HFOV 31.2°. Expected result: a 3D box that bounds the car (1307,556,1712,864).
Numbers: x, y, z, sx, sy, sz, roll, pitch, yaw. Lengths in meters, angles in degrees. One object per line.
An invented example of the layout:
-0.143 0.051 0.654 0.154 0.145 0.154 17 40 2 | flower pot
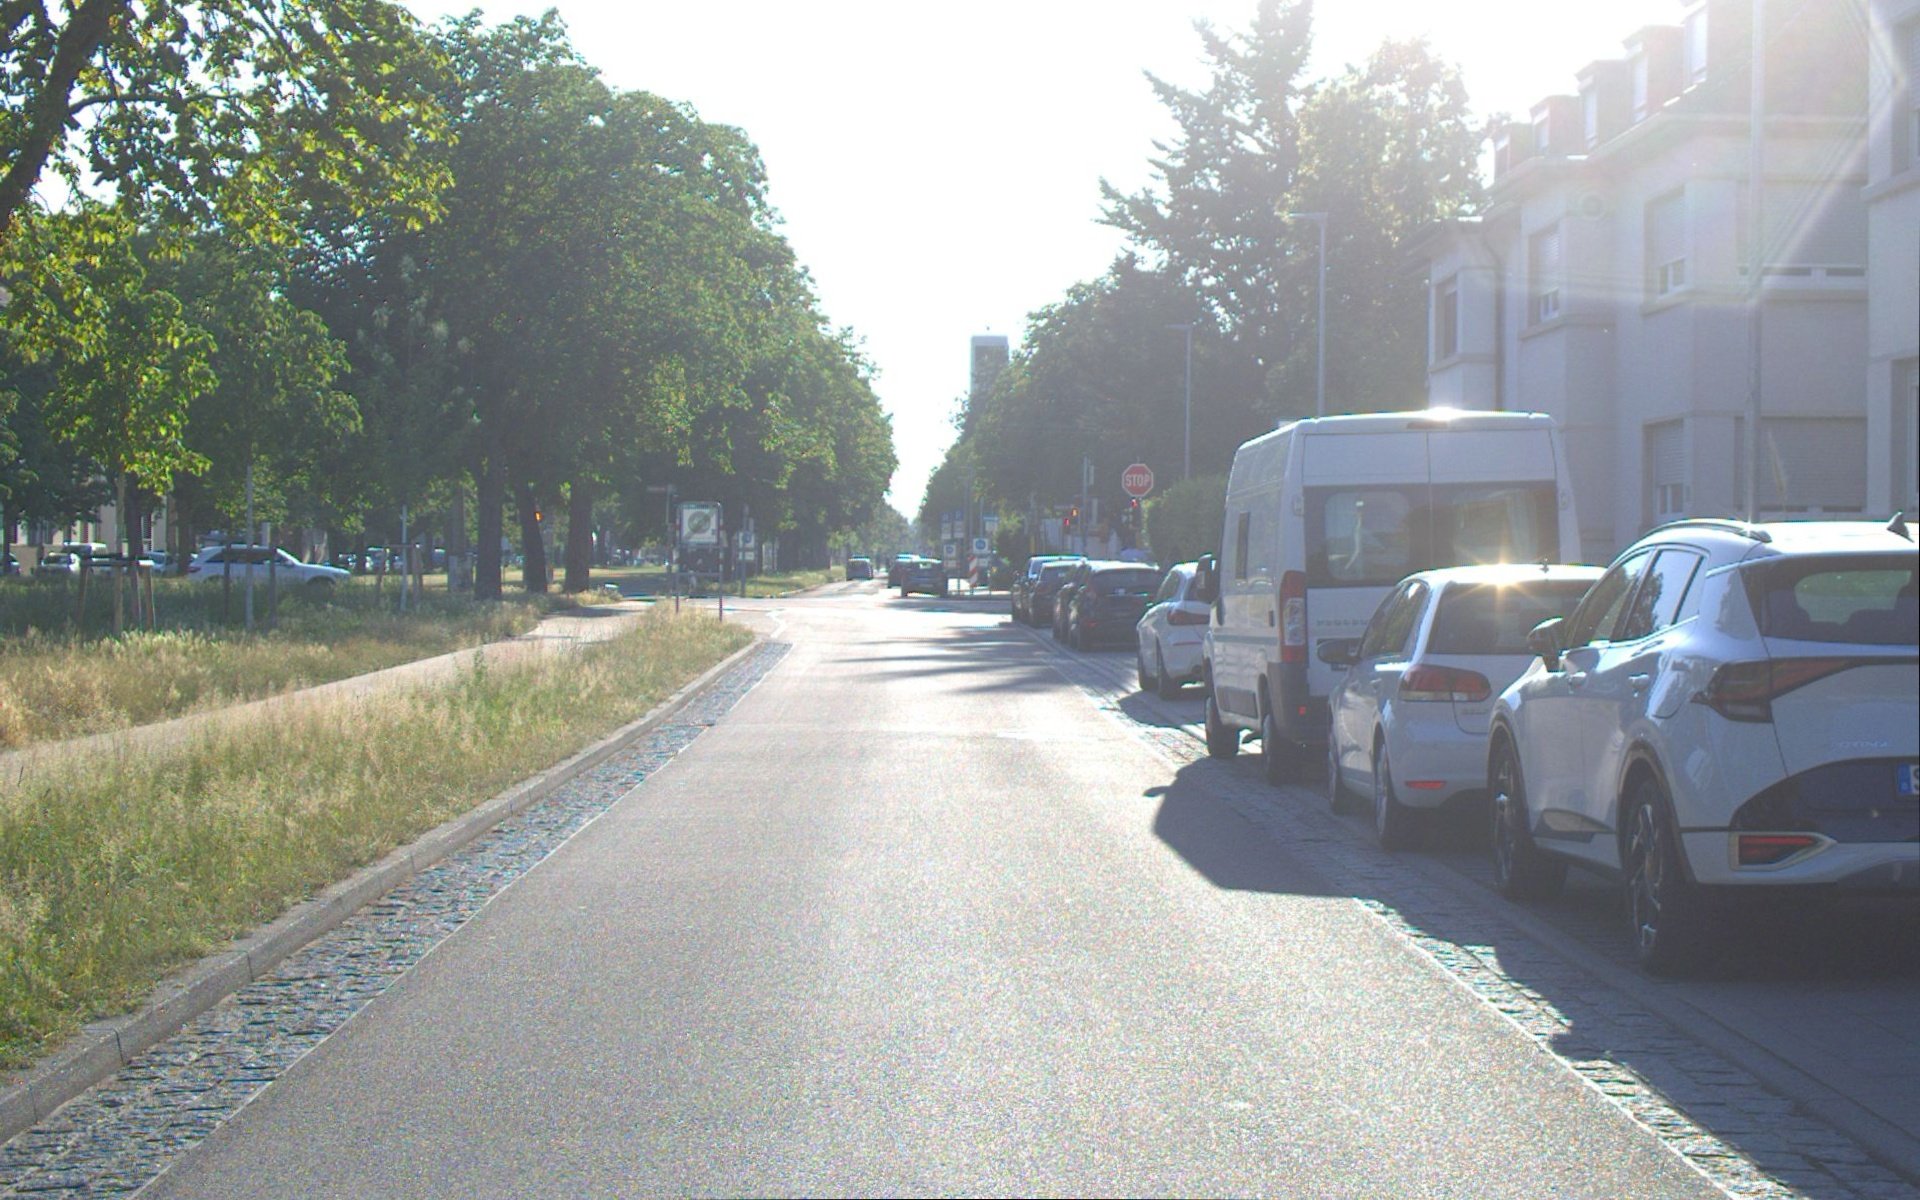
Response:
2.932 0.526 19.057 1.650 1.525 3.851 0 1 0 | car

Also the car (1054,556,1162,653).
2.416 0.047 56.814 1.650 1.525 3.851 0 1 0 | car

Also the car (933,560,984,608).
-0.035 -0.542 112.545 1.650 1.525 3.851 0 1 0 | car

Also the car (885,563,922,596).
-2.692 -0.980 164.767 1.650 1.525 3.851 0 1 0 | car

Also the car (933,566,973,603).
-0.288 -0.662 144.971 1.650 1.525 3.851 0 1 0 | car

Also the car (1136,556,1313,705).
2.840 0.291 37.502 1.650 1.525 3.851 0 1 0 | car

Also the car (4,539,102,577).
-45.457 -2.112 172.353 4.346 1.758 2.000 2 0 0 | car

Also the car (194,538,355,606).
-19.461 -0.791 97.781 4.345 1.758 2.000 2 0 -9 | car

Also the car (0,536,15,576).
-44.489 -2.028 152.859 4.346 1.758 2.000 2 0 0 | car

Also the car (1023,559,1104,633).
2.192 -0.097 73.592 1.650 1.525 3.851 0 1 0 | car

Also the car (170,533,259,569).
-40.324 -2.640 186.012 4.346 1.758 2.000 2 0 0 | car

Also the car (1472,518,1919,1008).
3.325 0.510 13.554 1.837 1.630 4.132 0 1 -2 | car

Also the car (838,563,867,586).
-7.224 -1.716 231.703 1.810 1.525 3.851 0 1 0 | car

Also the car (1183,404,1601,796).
2.966 -0.037 24.829 2.126 2.524 5.189 0 1 -3 | car
